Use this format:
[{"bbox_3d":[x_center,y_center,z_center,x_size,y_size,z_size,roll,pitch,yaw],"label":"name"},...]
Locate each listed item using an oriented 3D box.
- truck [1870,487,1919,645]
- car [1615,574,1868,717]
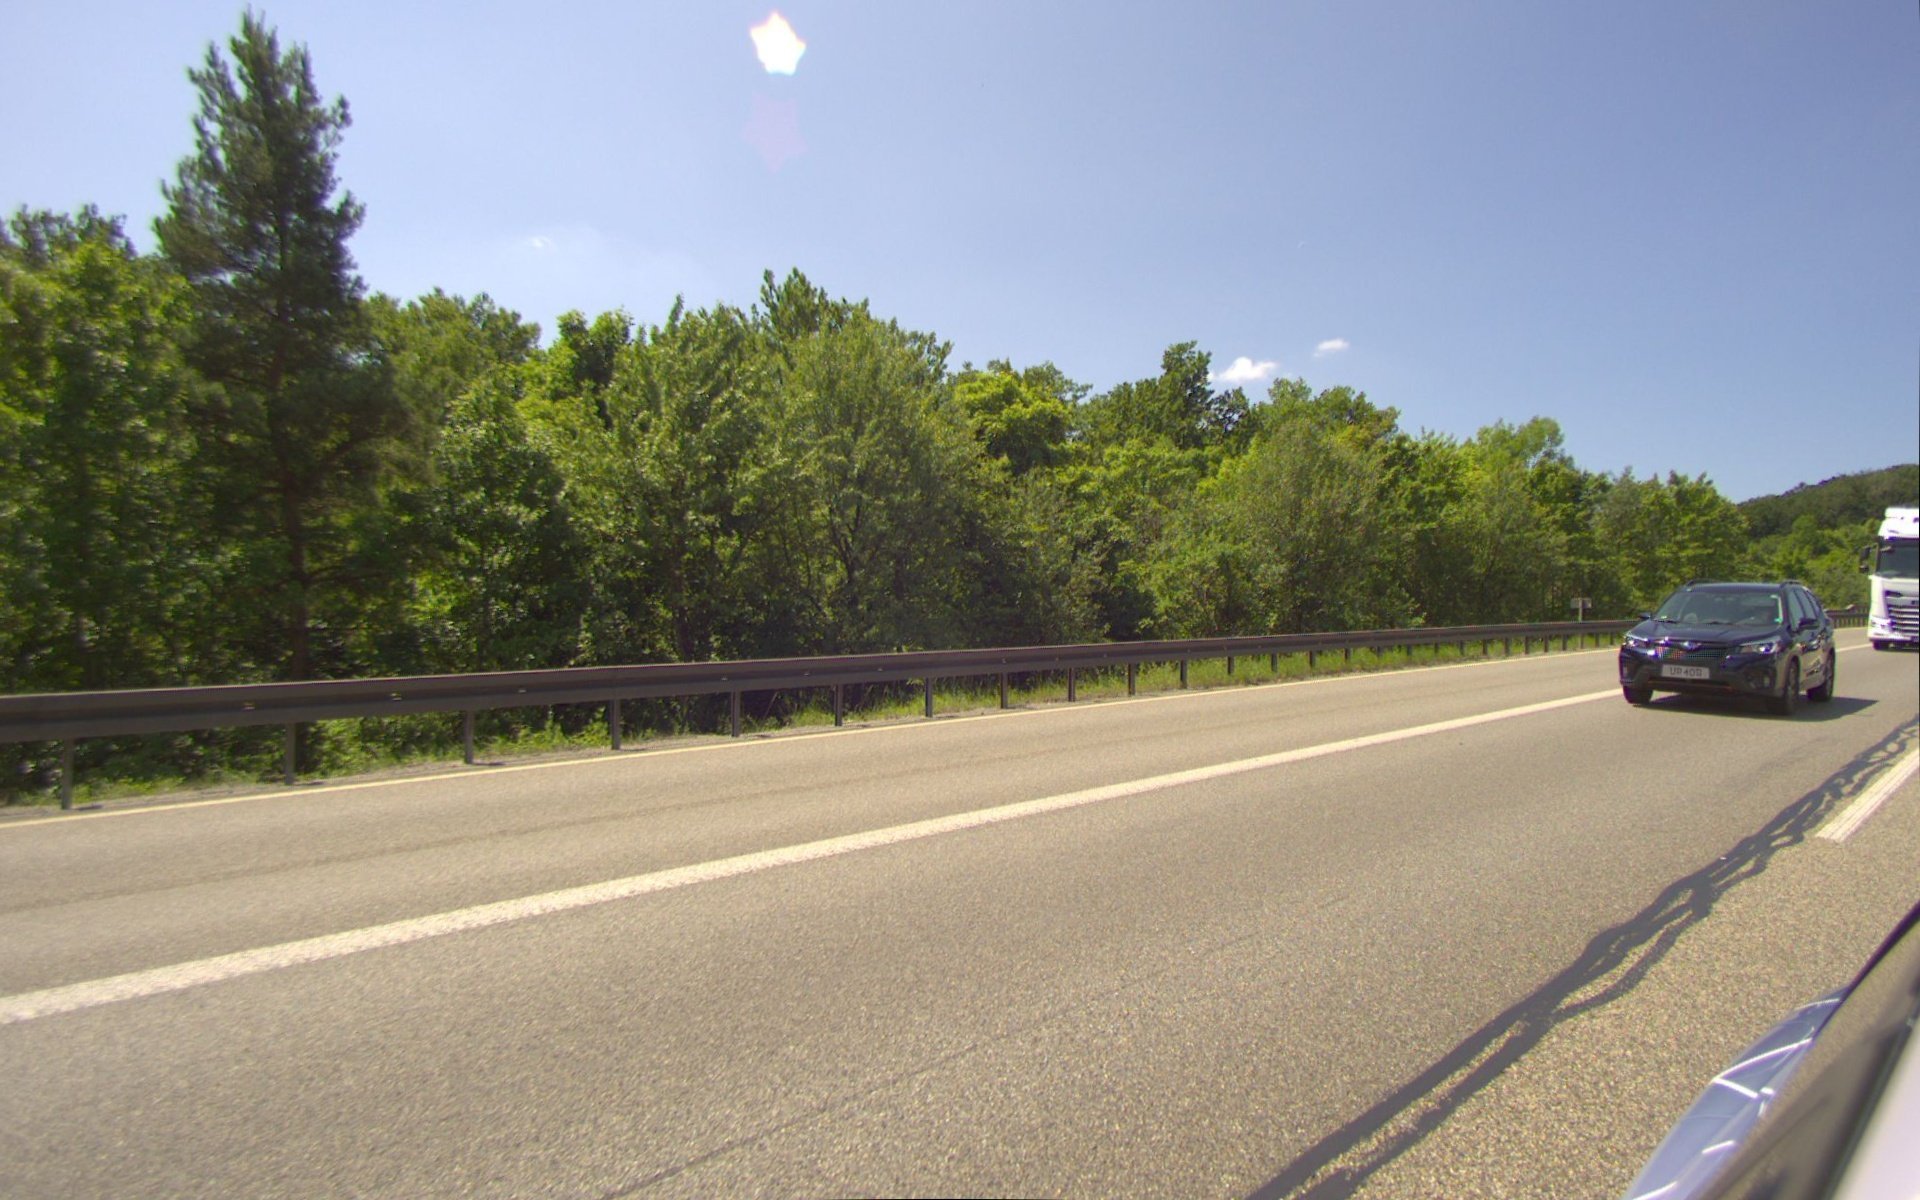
[{"bbox_3d":[32.114,-0.927,31.988,15.979,4.221,2.788,0,1,-40],"label":"truck"},{"bbox_3d":[10.887,0.503,14.012,4.127,1.688,1.816,-1,2,-38],"label":"car"}]
